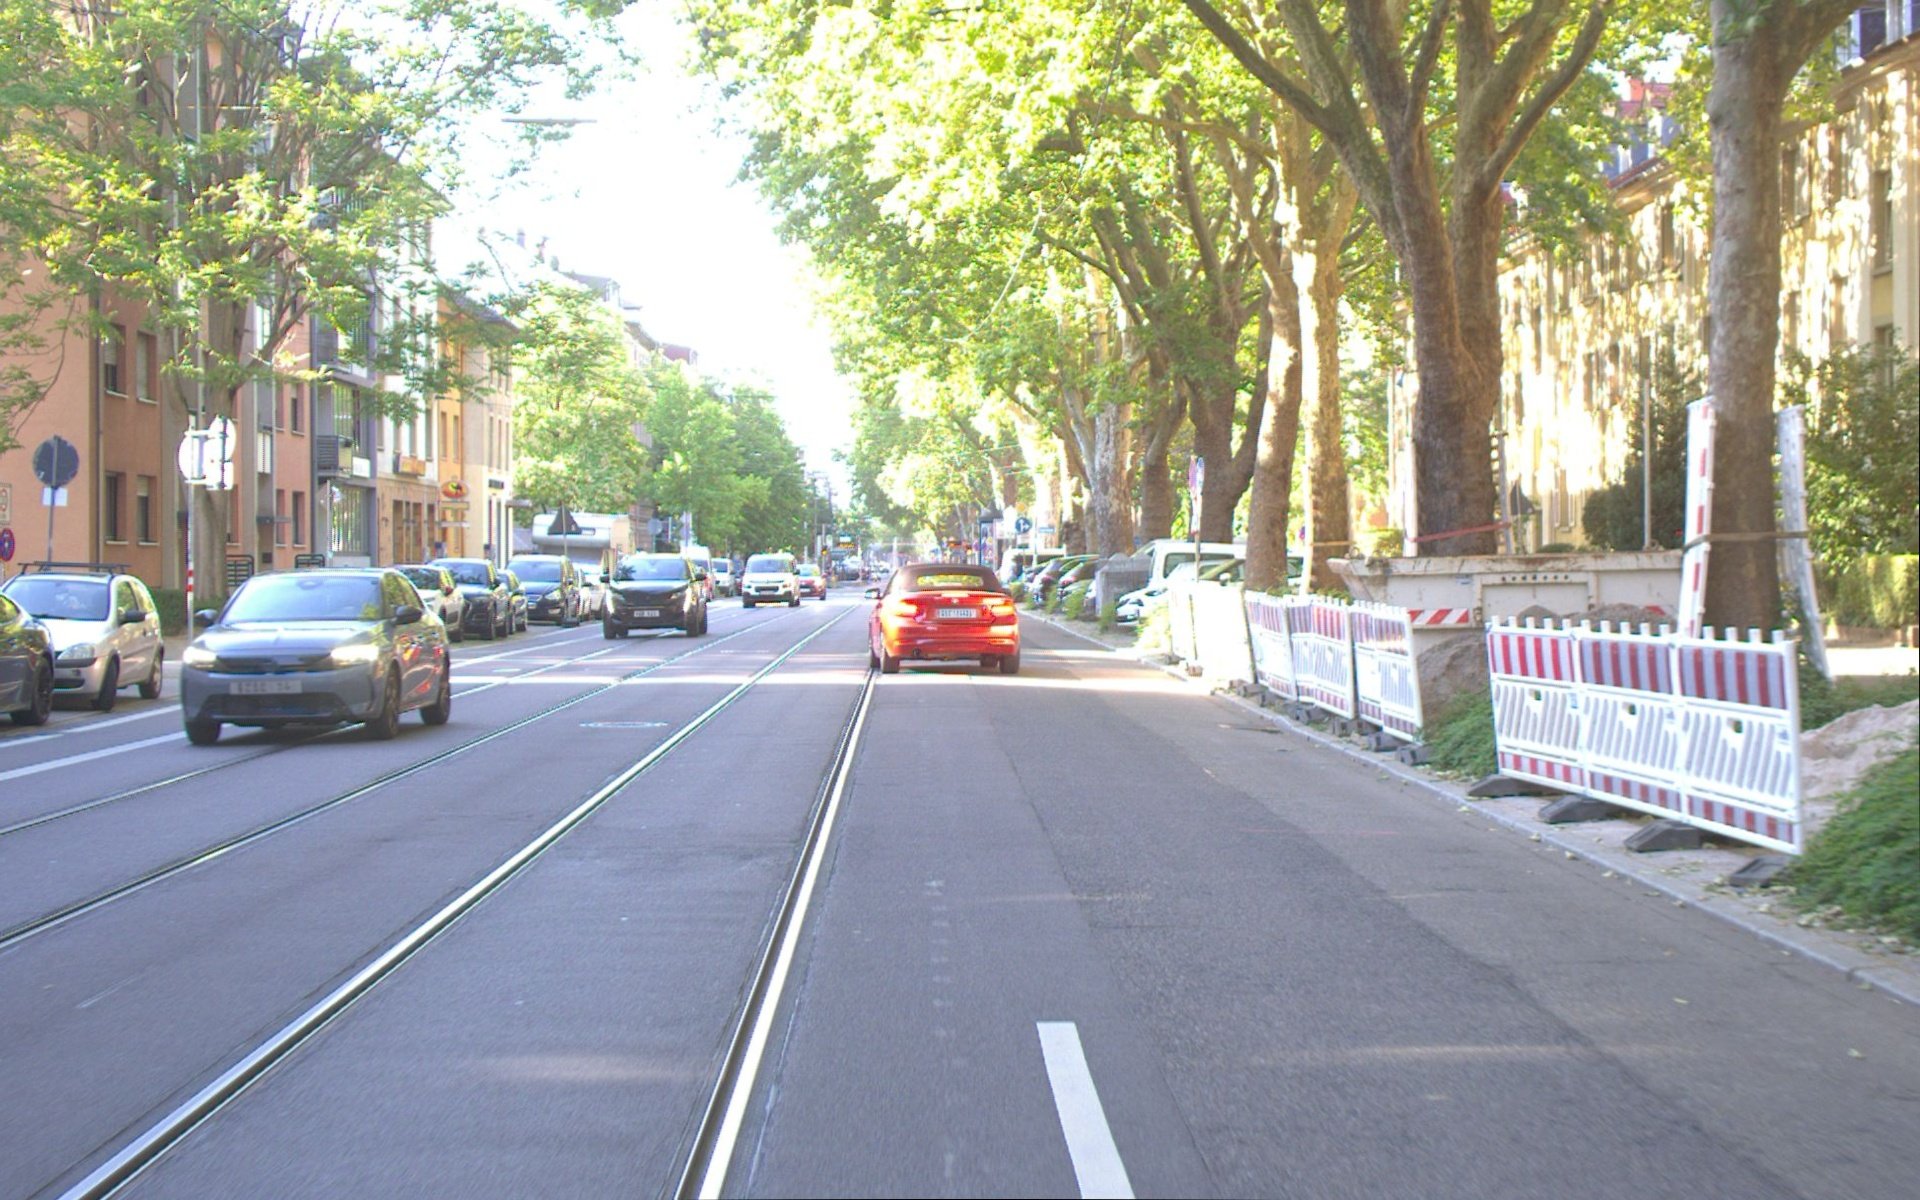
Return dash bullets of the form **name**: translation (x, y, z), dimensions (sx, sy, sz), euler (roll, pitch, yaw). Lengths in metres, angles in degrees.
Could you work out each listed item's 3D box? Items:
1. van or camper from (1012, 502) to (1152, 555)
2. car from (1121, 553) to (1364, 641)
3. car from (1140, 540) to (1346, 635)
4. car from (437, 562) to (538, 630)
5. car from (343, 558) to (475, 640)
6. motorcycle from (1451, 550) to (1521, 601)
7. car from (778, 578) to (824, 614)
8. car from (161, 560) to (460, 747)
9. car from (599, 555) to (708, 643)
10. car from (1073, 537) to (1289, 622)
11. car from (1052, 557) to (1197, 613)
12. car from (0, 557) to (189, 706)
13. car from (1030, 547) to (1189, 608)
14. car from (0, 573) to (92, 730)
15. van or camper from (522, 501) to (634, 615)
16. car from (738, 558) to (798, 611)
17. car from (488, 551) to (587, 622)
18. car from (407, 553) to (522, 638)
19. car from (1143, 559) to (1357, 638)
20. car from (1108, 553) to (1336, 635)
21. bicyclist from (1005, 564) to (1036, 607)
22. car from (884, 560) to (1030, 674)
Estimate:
- **van or camper**: translation (5.099, -3.007, 143.966), dimensions (5.554, 2.006, 2.245), euler (-2, 2, -5)
- **car**: translation (4.965, -0.051, 60.760), dimensions (4.087, 1.516, 1.917), euler (0, 0, -2)
- **car**: translation (5.327, -0.235, 65.042), dimensions (3.844, 1.766, 1.916), euler (0, 1, 3)
- **car**: translation (-10.462, -0.106, 76.372), dimensions (1.738, 1.396, 4.383), euler (2, 1, -2)
- **car**: translation (-10.517, -0.032, 65.871), dimensions (1.806, 1.473, 4.090), euler (2, 0, 0)
- **motorcycle**: translation (14.888, -0.702, 97.376), dimensions (1.803, 1.356, 0.622), euler (-3, 1, -3)
- **car**: translation (-6.657, -0.173, 144.307), dimensions (1.775, 1.453, 4.203), euler (-1, 1, -1)
- **car**: translation (-5.492, 0.406, 29.525), dimensions (1.795, 1.441, 4.053), euler (-1, 1, 0)
- **car**: translation (-6.018, -0.054, 67.893), dimensions (1.853, 1.595, 4.464), euler (2, 1, -2)
- **car**: translation (5.144, -0.492, 80.534), dimensions (4.835, 1.956, 2.065), euler (0, 0, -3)
- **car**: translation (4.454, -0.412, 93.343), dimensions (3.838, 1.504, 1.711), euler (0, 1, -1)
- **car**: translation (-9.686, 0.302, 37.489), dimensions (1.725, 1.478, 3.930), euler (2, 1, -2)
- **car**: translation (4.354, -0.650, 99.799), dimensions (4.497, 1.596, 2.027), euler (-2, 0, 3)
- **car**: translation (-9.763, 0.449, 32.241), dimensions (1.952, 1.390, 4.863), euler (3, 1, 0)
- **van or camper**: translation (-10.867, -1.205, 98.235), dimensions (2.337, 3.030, 6.397), euler (3, 1, 0)
- **car**: translation (-6.647, -0.557, 119.179), dimensions (1.891, 1.826, 4.896), euler (0, 1, -1)
- **car**: translation (-10.527, -0.361, 85.987), dimensions (1.952, 1.680, 5.071), euler (2, 1, -2)
- **car**: translation (-10.225, -0.119, 71.221), dimensions (1.781, 1.605, 4.588), euler (3, 1, -2)
- **car**: translation (5.292, -0.036, 63.081), dimensions (3.844, 1.428, 1.851), euler (0, 1, 3)
- **car**: translation (5.093, -0.127, 67.068), dimensions (4.371, 1.537, 1.801), euler (0, 1, 3)
- **bicyclist**: translation (2.395, -0.578, 136.420), dimensions (1.045, 1.700, 1.058), euler (0, 1, -10)
- **car**: translation (-0.040, 0.188, 44.986), dimensions (1.792, 1.384, 4.236), euler (1, 1, 0)
